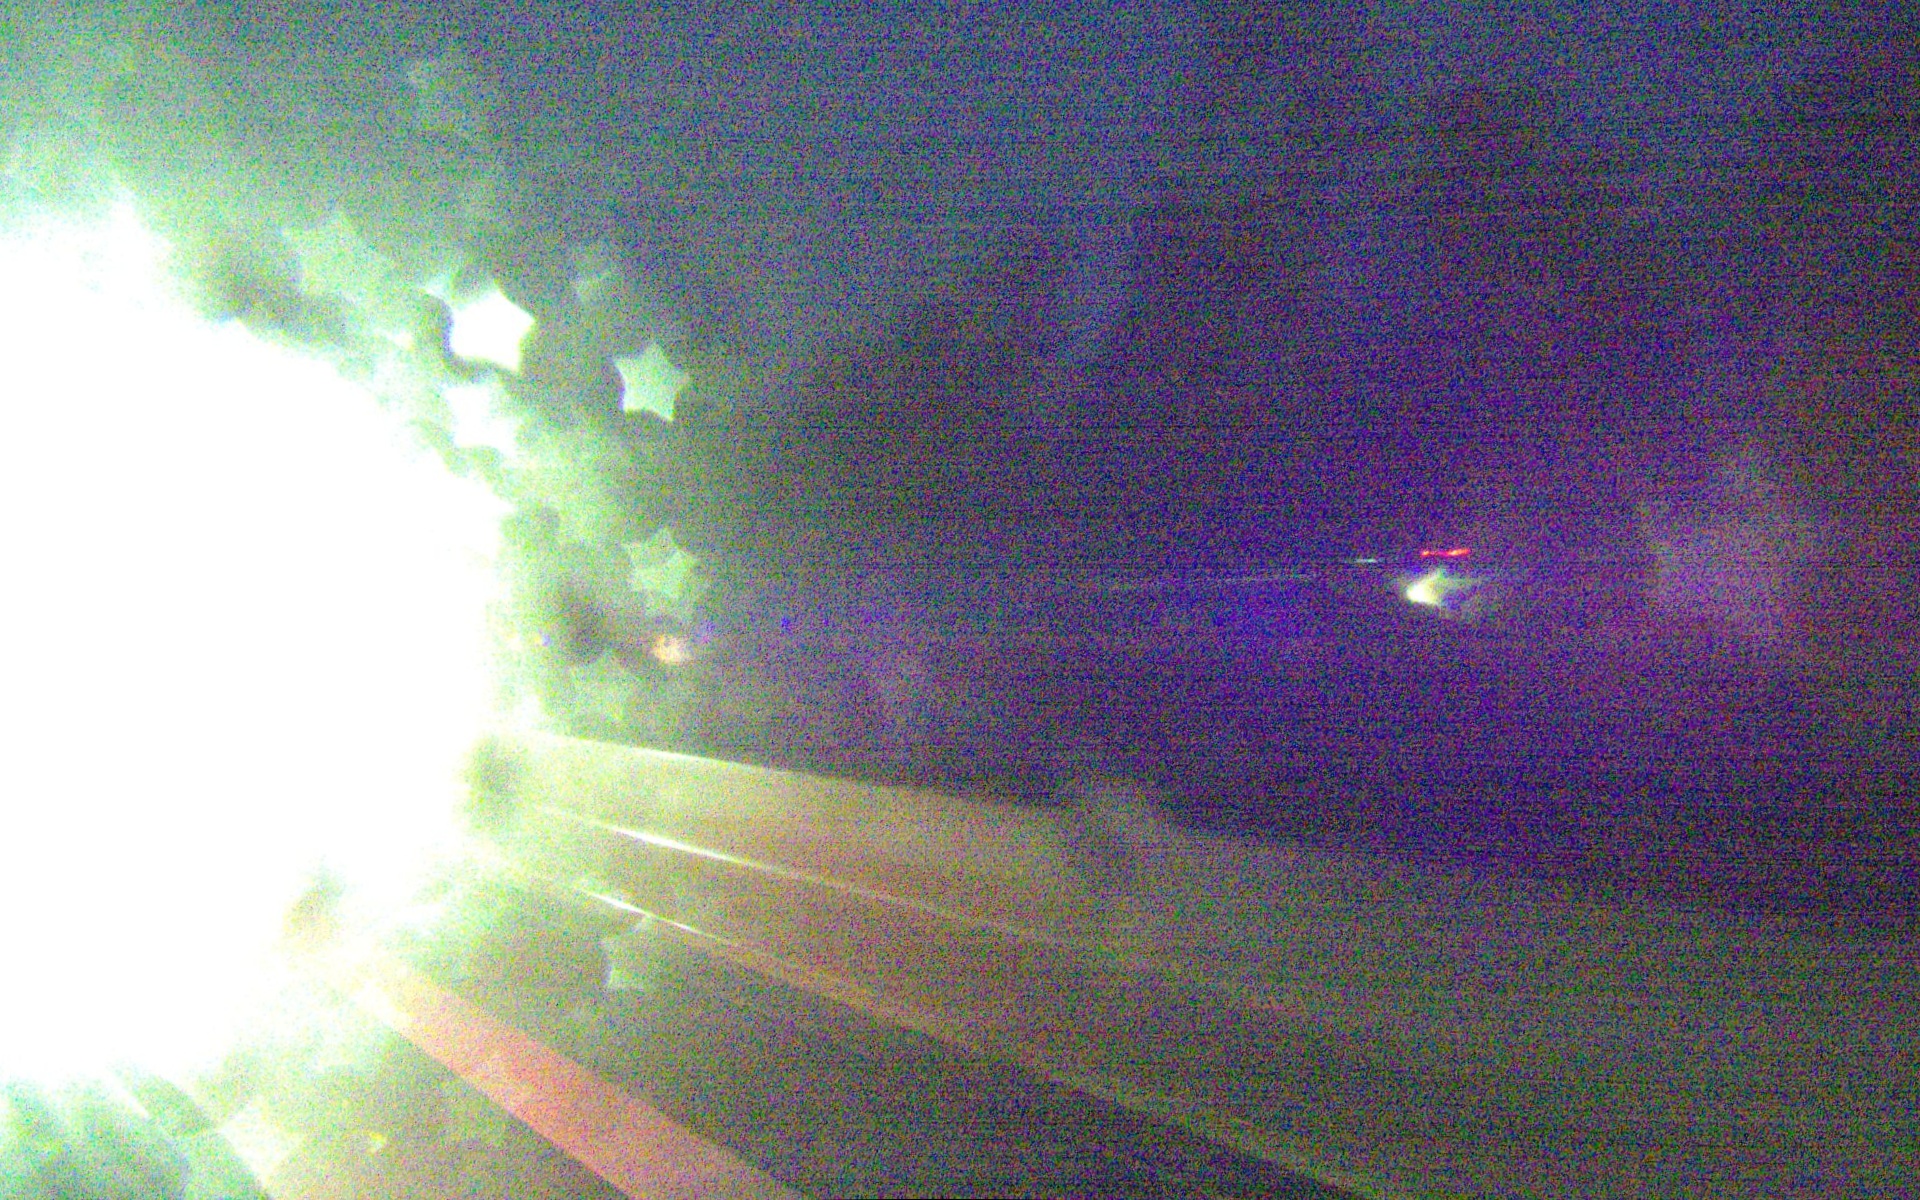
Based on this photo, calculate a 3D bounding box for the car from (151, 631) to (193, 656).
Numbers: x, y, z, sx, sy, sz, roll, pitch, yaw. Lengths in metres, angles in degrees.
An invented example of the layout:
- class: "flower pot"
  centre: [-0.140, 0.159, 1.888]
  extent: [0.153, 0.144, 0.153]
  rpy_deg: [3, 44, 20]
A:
- class: "car"
  centre: [-51.649, 2.829, 66.286]
  extent: [1.783, 1.417, 4.293]
  rpy_deg: [-4, 1, -42]

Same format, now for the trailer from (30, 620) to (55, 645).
- class: "trailer"
  centre: [-174.989, 6.197, 193.027]
  extent: [13.727, 4.579, 2.593]
  rpy_deg: [-2, 1, 45]

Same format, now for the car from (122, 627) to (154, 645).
- class: "car"
  centre: [-83.958, 3.669, 103.330]
  extent: [4.290, 1.732, 1.971]
  rpy_deg: [-2, 1, 44]

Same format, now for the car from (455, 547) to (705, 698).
- class: "car"
  centre: [-6.006, 0.317, 15.806]
  extent: [3.999, 2.028, 1.972]
  rpy_deg: [-2, 1, 42]

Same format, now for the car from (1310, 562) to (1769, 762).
- class: "car"
  centre: [6.228, 0.567, 11.129]
  extent: [4.000, 1.748, 1.972]
  rpy_deg: [-2, 1, 43]
